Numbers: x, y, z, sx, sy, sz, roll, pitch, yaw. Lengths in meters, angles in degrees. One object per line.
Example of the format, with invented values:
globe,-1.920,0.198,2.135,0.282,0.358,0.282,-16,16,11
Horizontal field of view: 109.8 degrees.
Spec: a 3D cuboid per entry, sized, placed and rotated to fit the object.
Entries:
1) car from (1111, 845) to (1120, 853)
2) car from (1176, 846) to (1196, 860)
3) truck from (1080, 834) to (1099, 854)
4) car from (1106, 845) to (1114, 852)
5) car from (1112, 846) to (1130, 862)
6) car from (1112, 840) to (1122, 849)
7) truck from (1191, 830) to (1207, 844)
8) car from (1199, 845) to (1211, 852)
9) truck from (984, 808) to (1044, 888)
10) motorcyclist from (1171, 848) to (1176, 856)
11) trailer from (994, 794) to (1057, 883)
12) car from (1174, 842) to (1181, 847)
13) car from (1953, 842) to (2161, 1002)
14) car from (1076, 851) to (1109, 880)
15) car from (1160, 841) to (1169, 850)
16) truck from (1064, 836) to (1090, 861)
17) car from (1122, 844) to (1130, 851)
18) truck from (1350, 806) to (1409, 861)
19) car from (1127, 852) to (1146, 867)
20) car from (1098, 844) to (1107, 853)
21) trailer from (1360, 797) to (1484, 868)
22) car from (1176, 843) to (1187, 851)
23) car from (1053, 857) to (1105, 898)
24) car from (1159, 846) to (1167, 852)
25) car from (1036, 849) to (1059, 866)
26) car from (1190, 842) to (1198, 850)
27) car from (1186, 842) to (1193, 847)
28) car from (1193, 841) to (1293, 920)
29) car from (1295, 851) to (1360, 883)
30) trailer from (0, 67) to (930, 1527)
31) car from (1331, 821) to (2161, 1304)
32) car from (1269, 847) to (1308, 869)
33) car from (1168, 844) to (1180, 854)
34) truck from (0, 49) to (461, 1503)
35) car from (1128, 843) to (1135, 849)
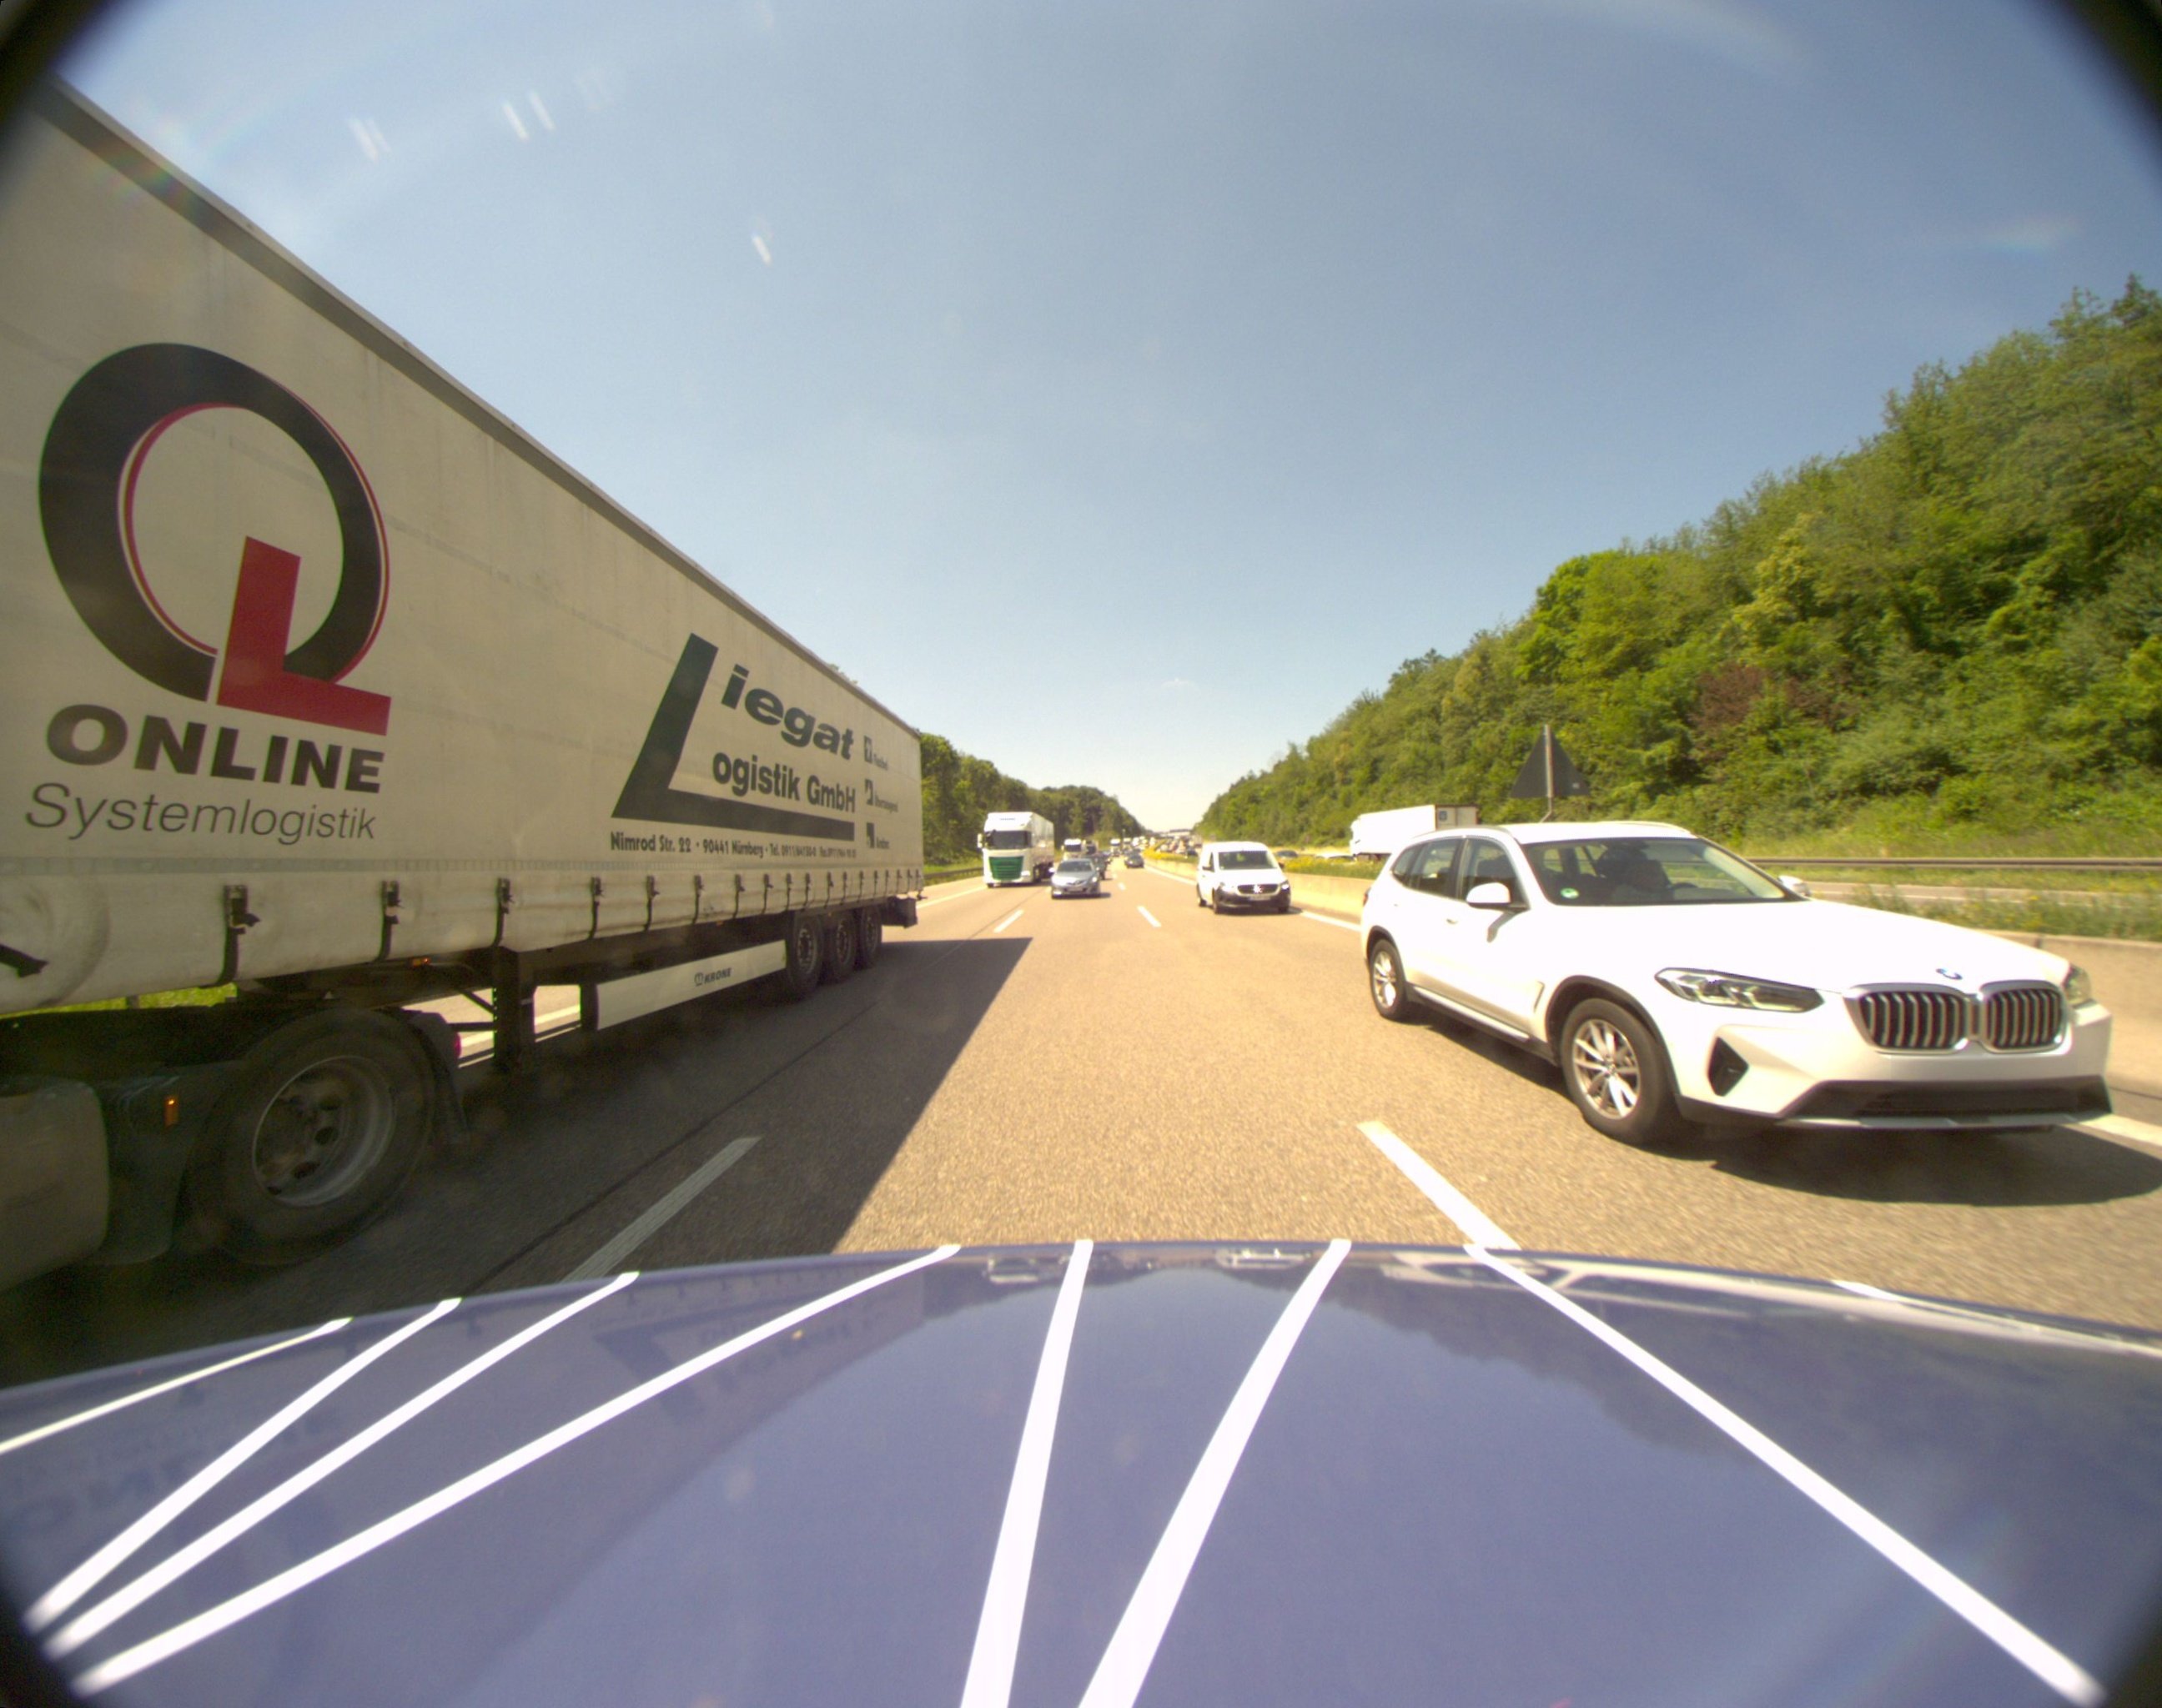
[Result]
car,7.941,-1.212,176.711,1.998,1.728,4.000,-2,1,3
car,13.413,-0.164,96.984,1.998,1.668,4.080,-2,0,1
truck,1.671,-1.880,147.373,3.558,3.695,7.550,-2,1,1
car,7.720,-1.548,201.798,1.998,1.728,4.001,-2,1,5
car,5.033,-0.024,95.621,1.999,2.002,3.999,-2,1,-1
car,11.262,-2.965,237.825,2.697,2.467,6.585,-2,1,5
truck,38.330,-5.560,247.553,3.718,4.171,13.794,-2,1,4
car,24.442,-1.073,149.756,1.998,1.499,4.001,-1,0,4
truck,-3.597,-0.368,42.342,2.542,4.006,6.624,-2,1,1
motorcyclist,15.368,-0.305,126.259,0.624,1.326,0.577,-2,1,0
trailer,-3.405,-1.037,51.157,2.574,5.011,15.270,-2,1,2
car,28.079,-2.667,221.603,1.673,1.381,3.508,-2,0,2
car,11.379,0.670,6.616,1.998,1.464,4.872,-2,1,0
car,0.722,0.681,47.401,1.887,1.696,4.084,-2,0,1
car,20.819,-2.166,189.646,1.998,2.002,4.900,-2,1,3
truck,-0.528,-0.782,105.490,3.263,3.337,6.862,-2,1,2
car,12.148,-1.746,203.709,1.998,1.728,4.001,-2,1,5
truck,23.224,-1.588,59.341,2.696,4.066,5.203,-2,1,2
car,5.763,0.536,79.260,1.720,1.470,4.000,-2,0,1
car,5.197,-1.261,181.504,1.964,2.002,4.000,-2,1,2
trailer,22.982,-1.416,52.495,2.721,4.183,13.931,-2,1,2
car,22.754,-1.552,172.527,1.998,1.740,4.000,-2,1,2
car,-0.047,0.877,30.363,1.887,1.458,4.248,-2,0,1
car,22.164,-1.474,205.861,1.998,1.543,4.000,-2,0,3
car,-3.241,0.346,73.918,1.933,1.534,3.756,-2,1,2
car,28.716,-2.021,193.872,1.636,2.002,4.000,-2,1,3
car,31.441,-2.669,220.818,1.618,1.381,3.508,-2,0,2
car,4.130,0.623,20.103,1.769,1.802,4.674,-2,0,2
car,11.523,0.567,35.832,1.627,1.378,4.137,-2,0,-1
trailer,-4.415,-0.116,7.813,2.793,4.180,13.244,-2,0,1
car,3.468,0.735,5.184,1.869,1.684,4.956,-2,0,0
car,15.977,0.296,58.671,1.998,1.563,3.999,-2,1,1
car,18.026,-0.962,147.483,1.998,1.740,4.000,-2,1,2
truck,-4.506,-0.235,0.741,2.793,4.180,5.870,-2,0,1
car,15.290,-2.395,230.563,1.998,1.728,4.001,-2,1,5
